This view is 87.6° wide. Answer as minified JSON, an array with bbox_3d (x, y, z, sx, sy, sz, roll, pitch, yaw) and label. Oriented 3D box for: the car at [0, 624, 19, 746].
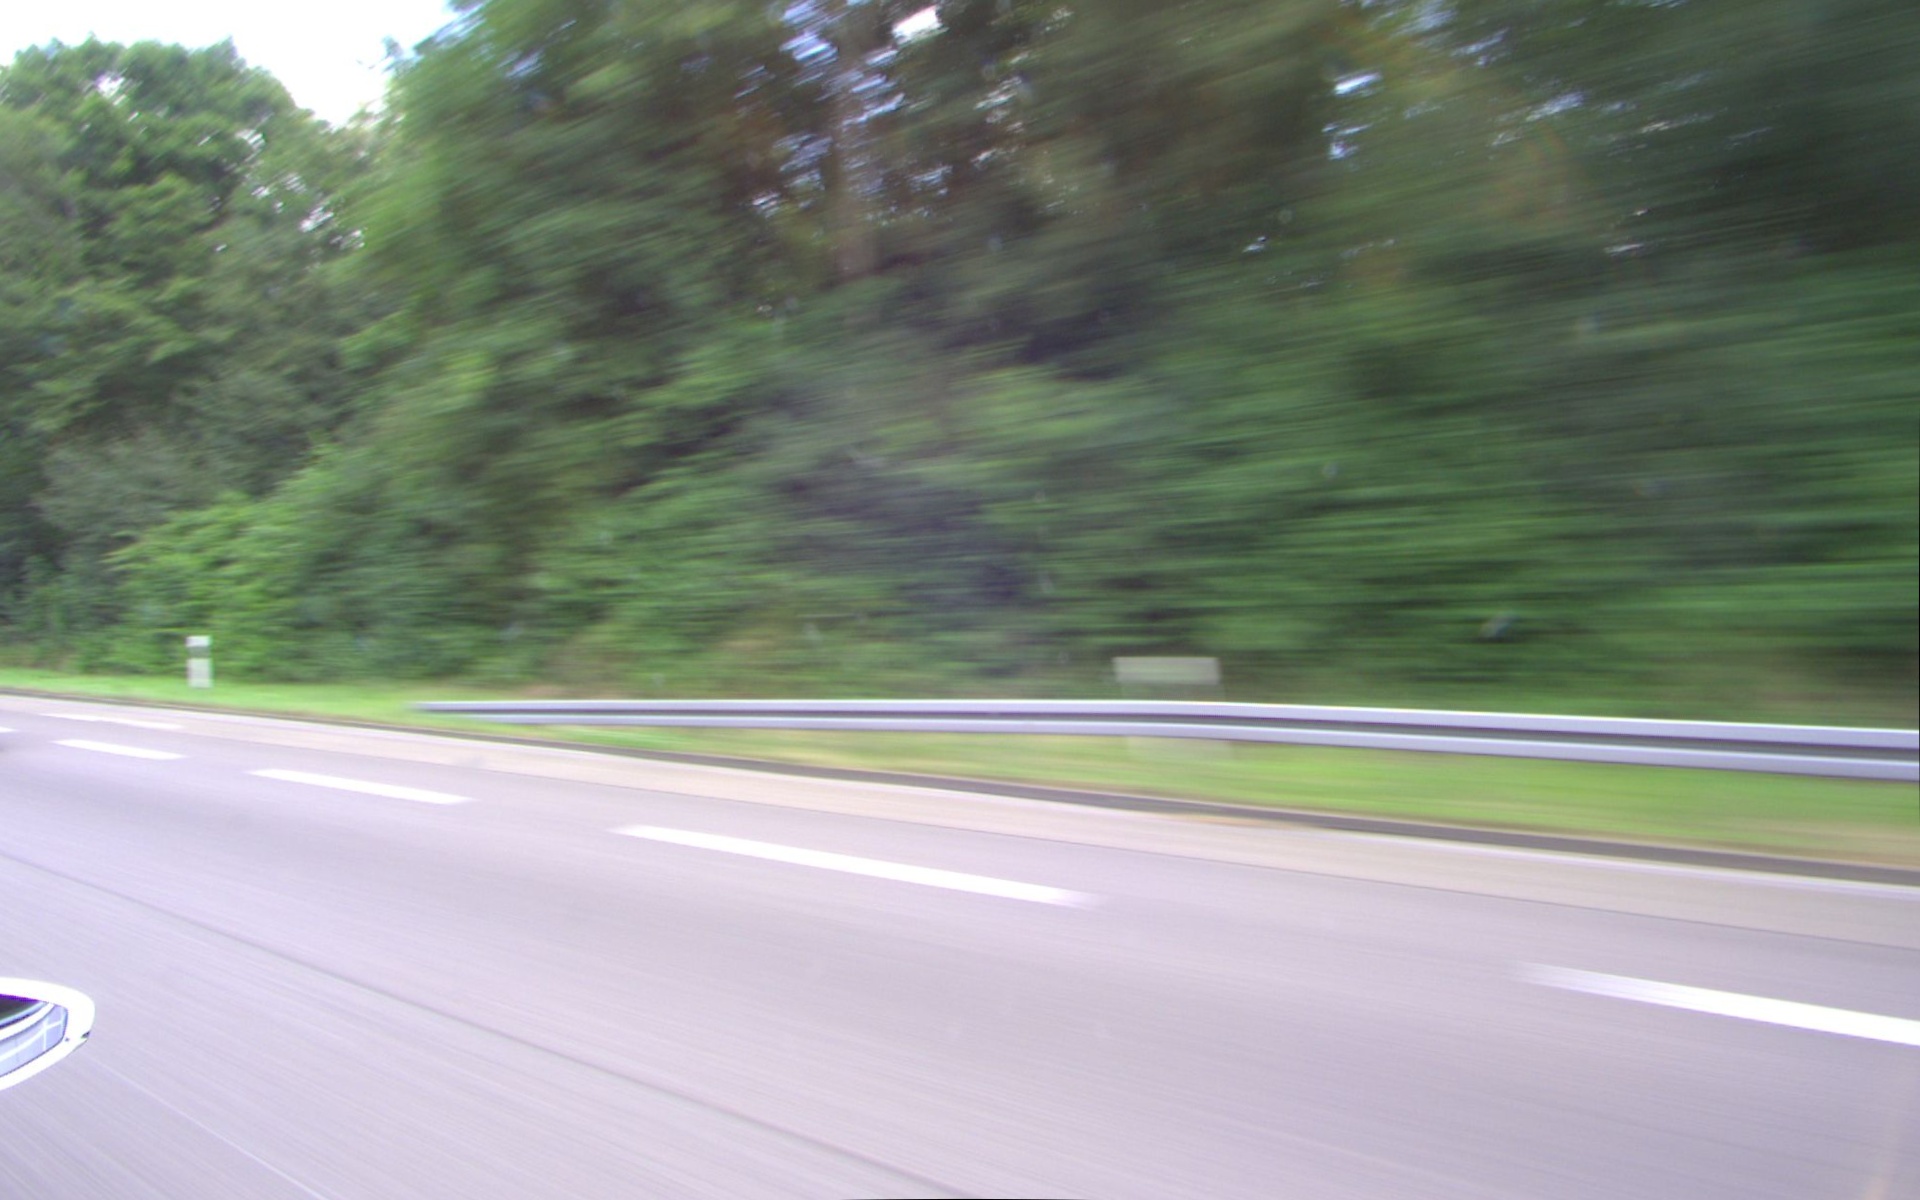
[{"bbox_3d":[-14.149,1.049,12.938,4.811,1.494,1.771,-1,-2,33],"label":"car"}]
